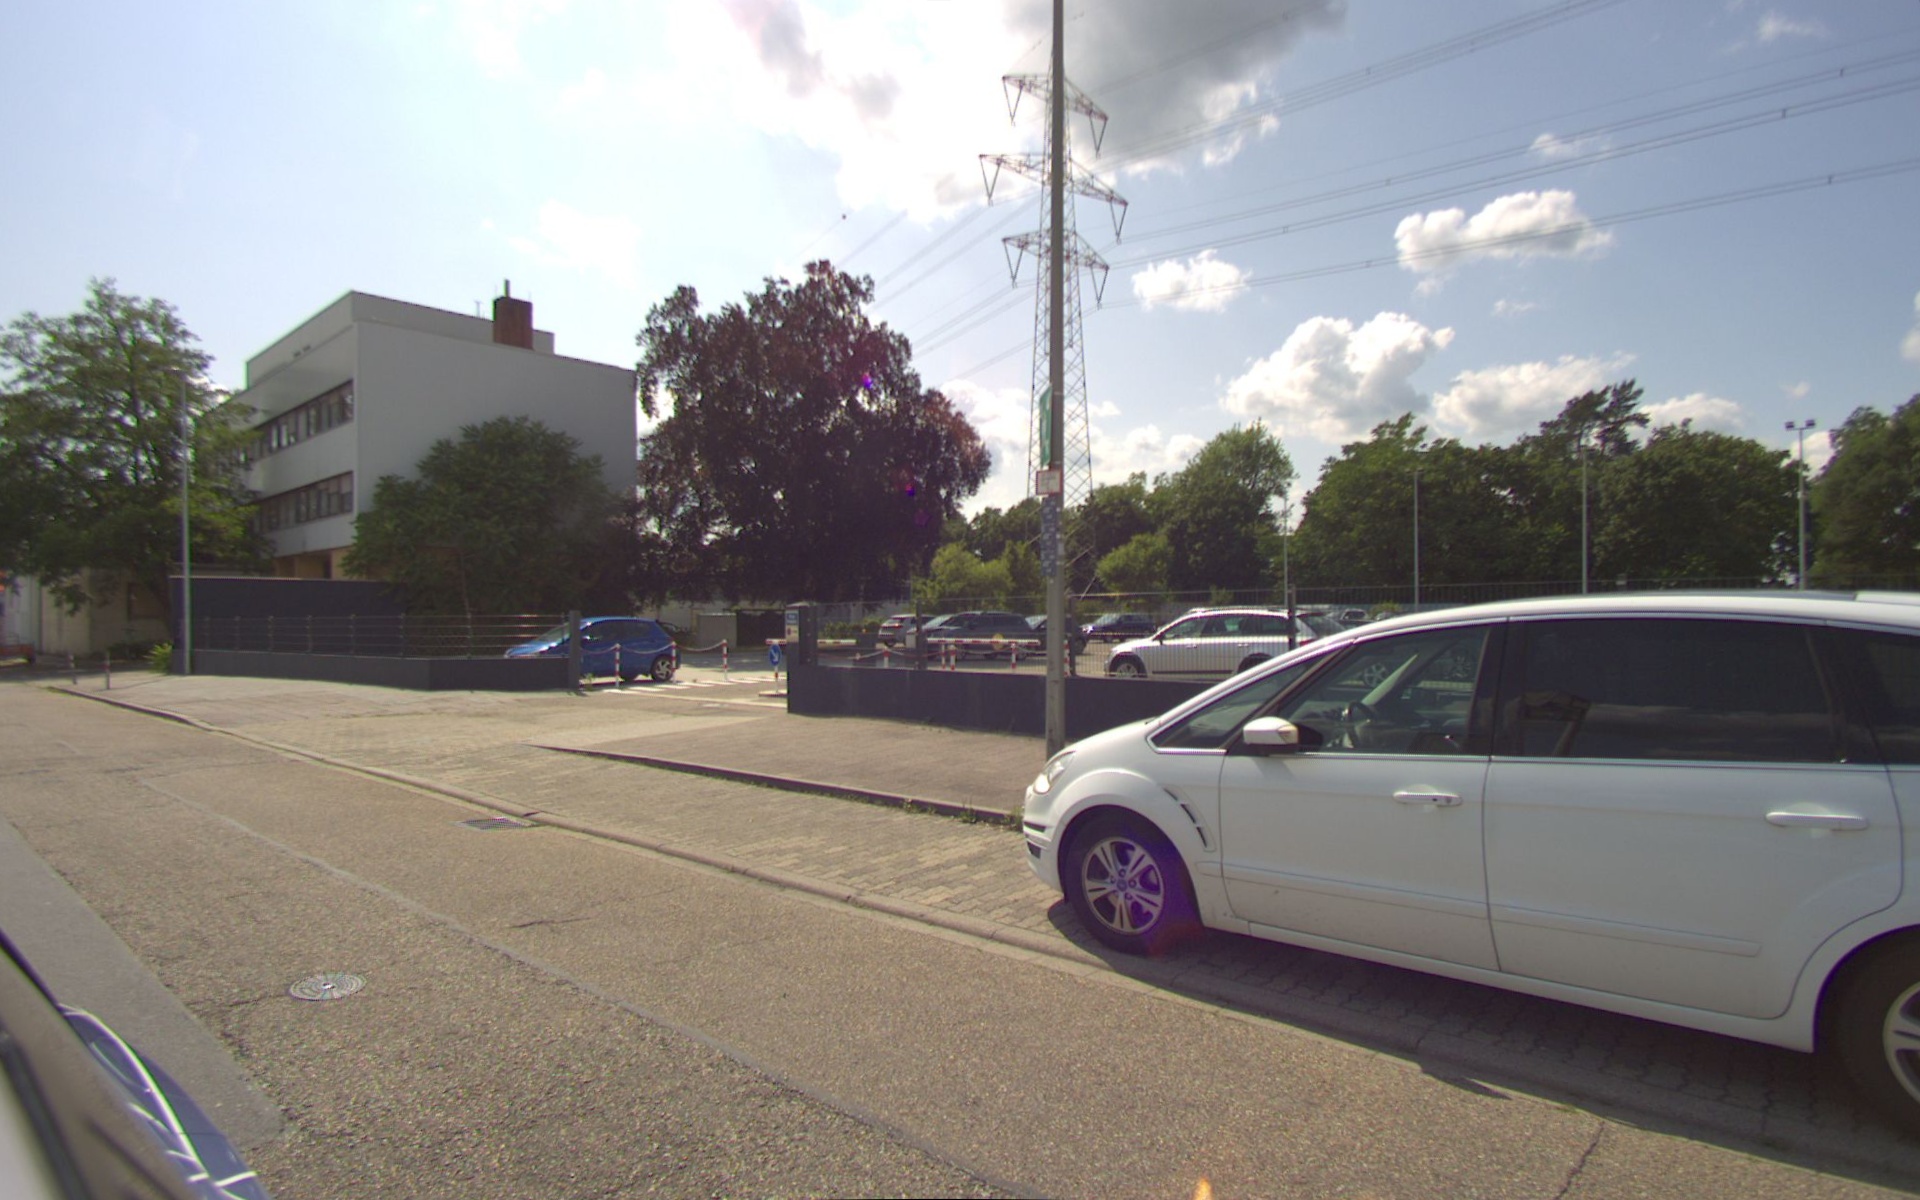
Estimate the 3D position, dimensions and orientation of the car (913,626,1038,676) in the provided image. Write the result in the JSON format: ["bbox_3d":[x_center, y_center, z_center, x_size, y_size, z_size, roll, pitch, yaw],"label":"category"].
[{"bbox_3d":[0.554,1.606,33.052,4.150,1.513,1.682,1,-2,-44],"label":"car"}]

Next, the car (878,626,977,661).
[{"bbox_3d":[-1.370,1.852,44.123,4.232,1.419,1.831,1,-2,-44],"label":"car"}]

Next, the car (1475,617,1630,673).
[{"bbox_3d":[18.162,1.357,31.112,3.988,1.630,1.634,-2,-2,33],"label":"car"}]

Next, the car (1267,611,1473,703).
[{"bbox_3d":[8.389,1.118,20.879,1.850,1.721,3.483,1,-2,-43],"label":"car"}]

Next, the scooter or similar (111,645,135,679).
[{"bbox_3d":[-33.060,2.435,39.971,1.360,1.288,0.477,-1,1,41],"label":"scooter or similar"}]

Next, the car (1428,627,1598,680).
[{"bbox_3d":[15.053,1.419,27.699,1.517,1.332,3.768,1,-2,-38],"label":"car"}]

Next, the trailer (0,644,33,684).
[{"bbox_3d":[-38.824,2.568,40.734,4.334,1.450,1.749,-1,1,41],"label":"trailer"}]

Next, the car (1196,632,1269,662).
[{"bbox_3d":[11.964,2.048,44.340,3.273,1.240,1.682,1,-2,-44],"label":"car"}]

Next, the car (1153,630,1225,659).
[{"bbox_3d":[10.417,1.987,45.951,3.273,1.240,1.682,1,-2,-44],"label":"car"}]

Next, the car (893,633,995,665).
[{"bbox_3d":[-0.616,2.001,42.276,4.150,1.236,1.831,1,-2,-44],"label":"car"}]

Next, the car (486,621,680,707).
[{"bbox_3d":[-8.324,1.349,22.517,1.877,1.721,3.610,-1,-2,40],"label":"car"}]

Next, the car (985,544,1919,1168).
[{"bbox_3d":[2.528,0.714,4.111,4.750,1.721,1.848,-1,0,41],"label":"car"}]

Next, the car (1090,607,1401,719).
[{"bbox_3d":[4.710,0.989,17.268,4.847,1.649,1.803,-2,-2,45],"label":"car"}]

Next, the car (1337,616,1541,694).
[{"bbox_3d":[11.489,1.258,24.457,1.851,1.721,4.070,1,-2,-44],"label":"car"}]

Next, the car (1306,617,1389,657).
[{"bbox_3d":[18.114,1.695,47.246,3.720,1.798,1.992,1,-2,-39],"label":"car"}]

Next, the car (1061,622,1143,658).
[{"bbox_3d":[7.023,1.947,49.777,4.149,1.675,1.839,1,-2,-43],"label":"car"}]
